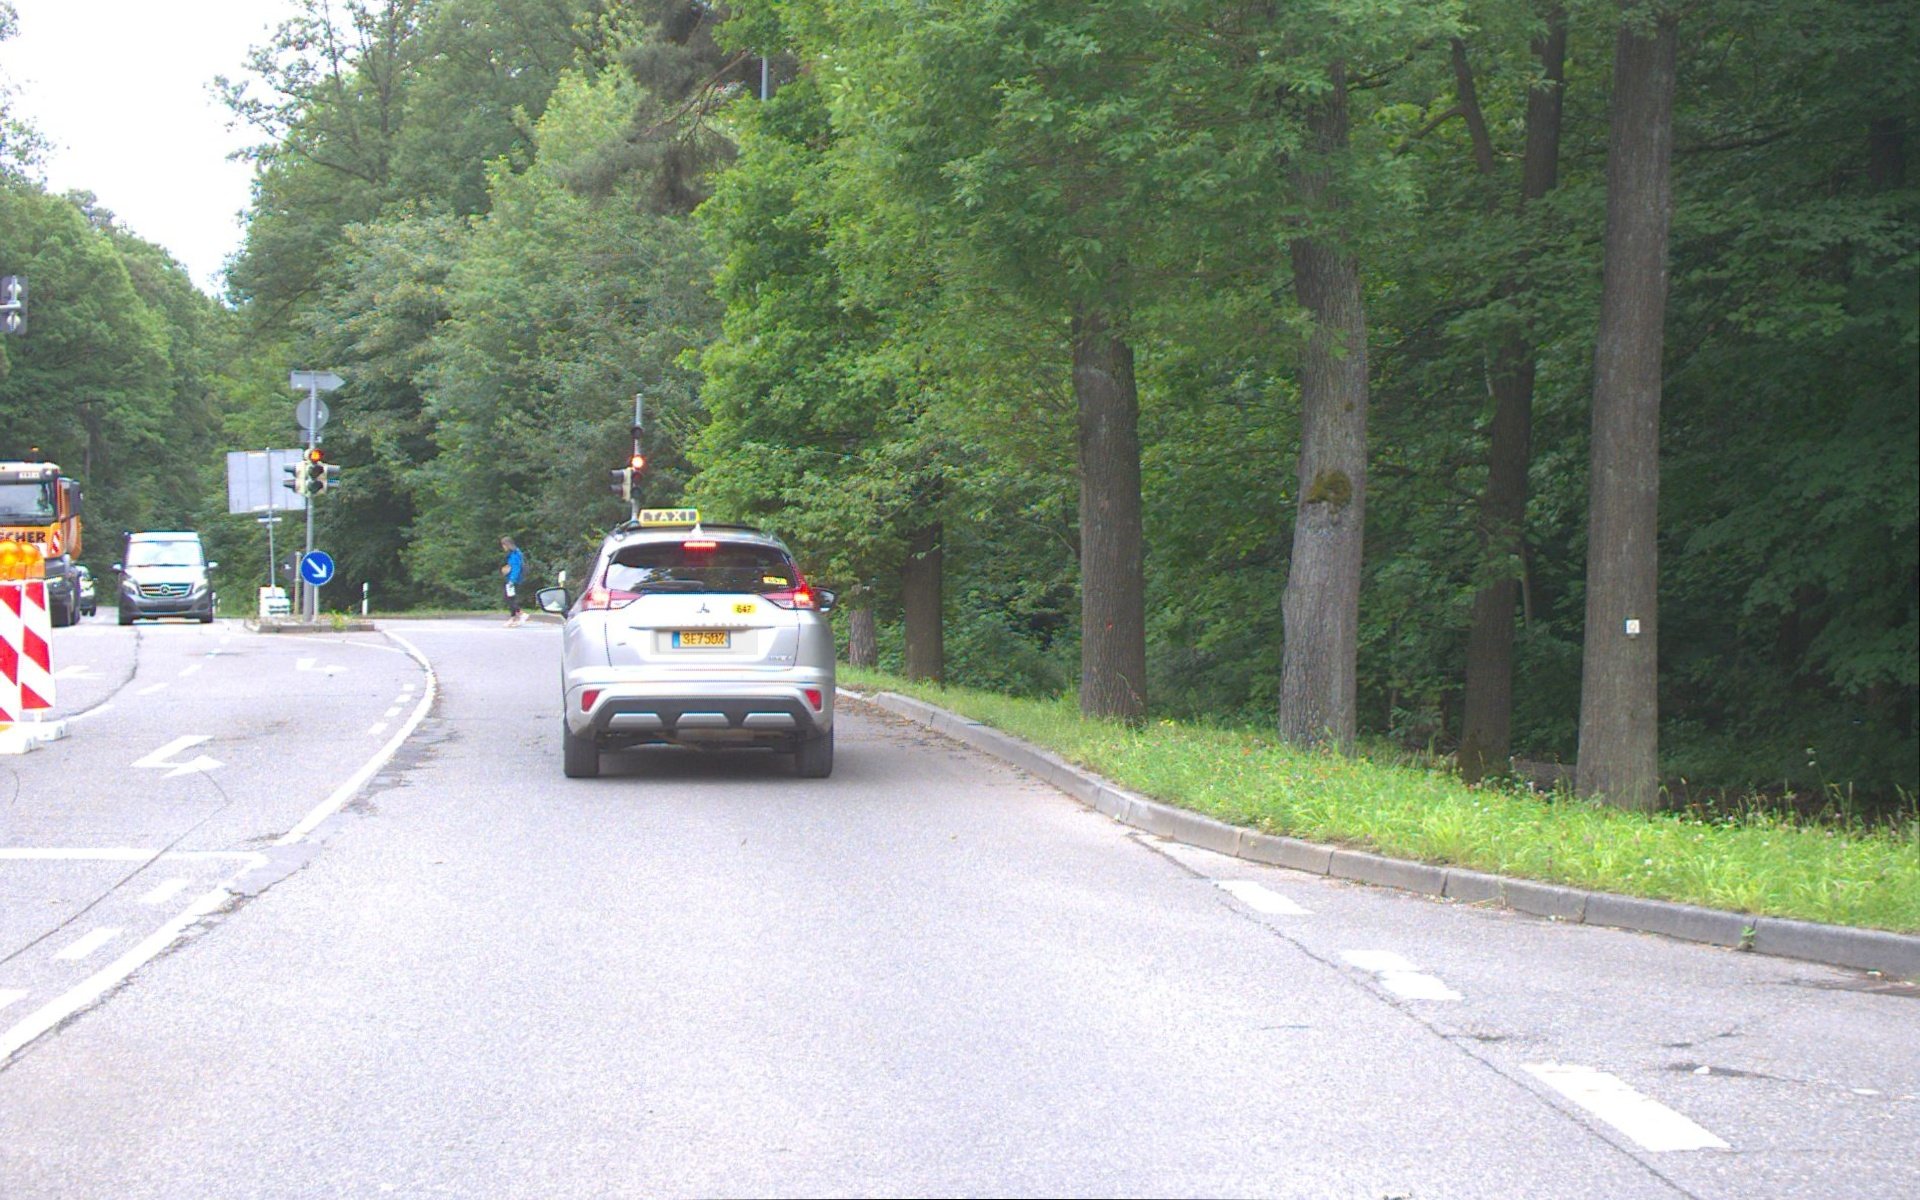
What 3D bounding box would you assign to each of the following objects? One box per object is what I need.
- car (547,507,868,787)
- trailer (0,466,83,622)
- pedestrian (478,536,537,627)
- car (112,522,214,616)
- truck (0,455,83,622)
[{"bbox_3d":[-1.659,0.257,23.827,1.846,1.774,4.000,0,1,1],"label":"car"},{"bbox_3d":[-21.219,-1.175,77.565,2.738,3.307,8.571,-1,0,-14],"label":"trailer"},{"bbox_3d":[-8.325,-0.348,63.261,1.047,1.643,1.069,0,1,-6],"label":"pedestrian"},{"bbox_3d":[-16.793,-0.639,72.496,1.993,1.887,4.840,-1,0,-13],"label":"car"},{"bbox_3d":[-19.738,-1.200,71.736,2.738,3.307,7.162,-1,0,-14],"label":"truck"}]
